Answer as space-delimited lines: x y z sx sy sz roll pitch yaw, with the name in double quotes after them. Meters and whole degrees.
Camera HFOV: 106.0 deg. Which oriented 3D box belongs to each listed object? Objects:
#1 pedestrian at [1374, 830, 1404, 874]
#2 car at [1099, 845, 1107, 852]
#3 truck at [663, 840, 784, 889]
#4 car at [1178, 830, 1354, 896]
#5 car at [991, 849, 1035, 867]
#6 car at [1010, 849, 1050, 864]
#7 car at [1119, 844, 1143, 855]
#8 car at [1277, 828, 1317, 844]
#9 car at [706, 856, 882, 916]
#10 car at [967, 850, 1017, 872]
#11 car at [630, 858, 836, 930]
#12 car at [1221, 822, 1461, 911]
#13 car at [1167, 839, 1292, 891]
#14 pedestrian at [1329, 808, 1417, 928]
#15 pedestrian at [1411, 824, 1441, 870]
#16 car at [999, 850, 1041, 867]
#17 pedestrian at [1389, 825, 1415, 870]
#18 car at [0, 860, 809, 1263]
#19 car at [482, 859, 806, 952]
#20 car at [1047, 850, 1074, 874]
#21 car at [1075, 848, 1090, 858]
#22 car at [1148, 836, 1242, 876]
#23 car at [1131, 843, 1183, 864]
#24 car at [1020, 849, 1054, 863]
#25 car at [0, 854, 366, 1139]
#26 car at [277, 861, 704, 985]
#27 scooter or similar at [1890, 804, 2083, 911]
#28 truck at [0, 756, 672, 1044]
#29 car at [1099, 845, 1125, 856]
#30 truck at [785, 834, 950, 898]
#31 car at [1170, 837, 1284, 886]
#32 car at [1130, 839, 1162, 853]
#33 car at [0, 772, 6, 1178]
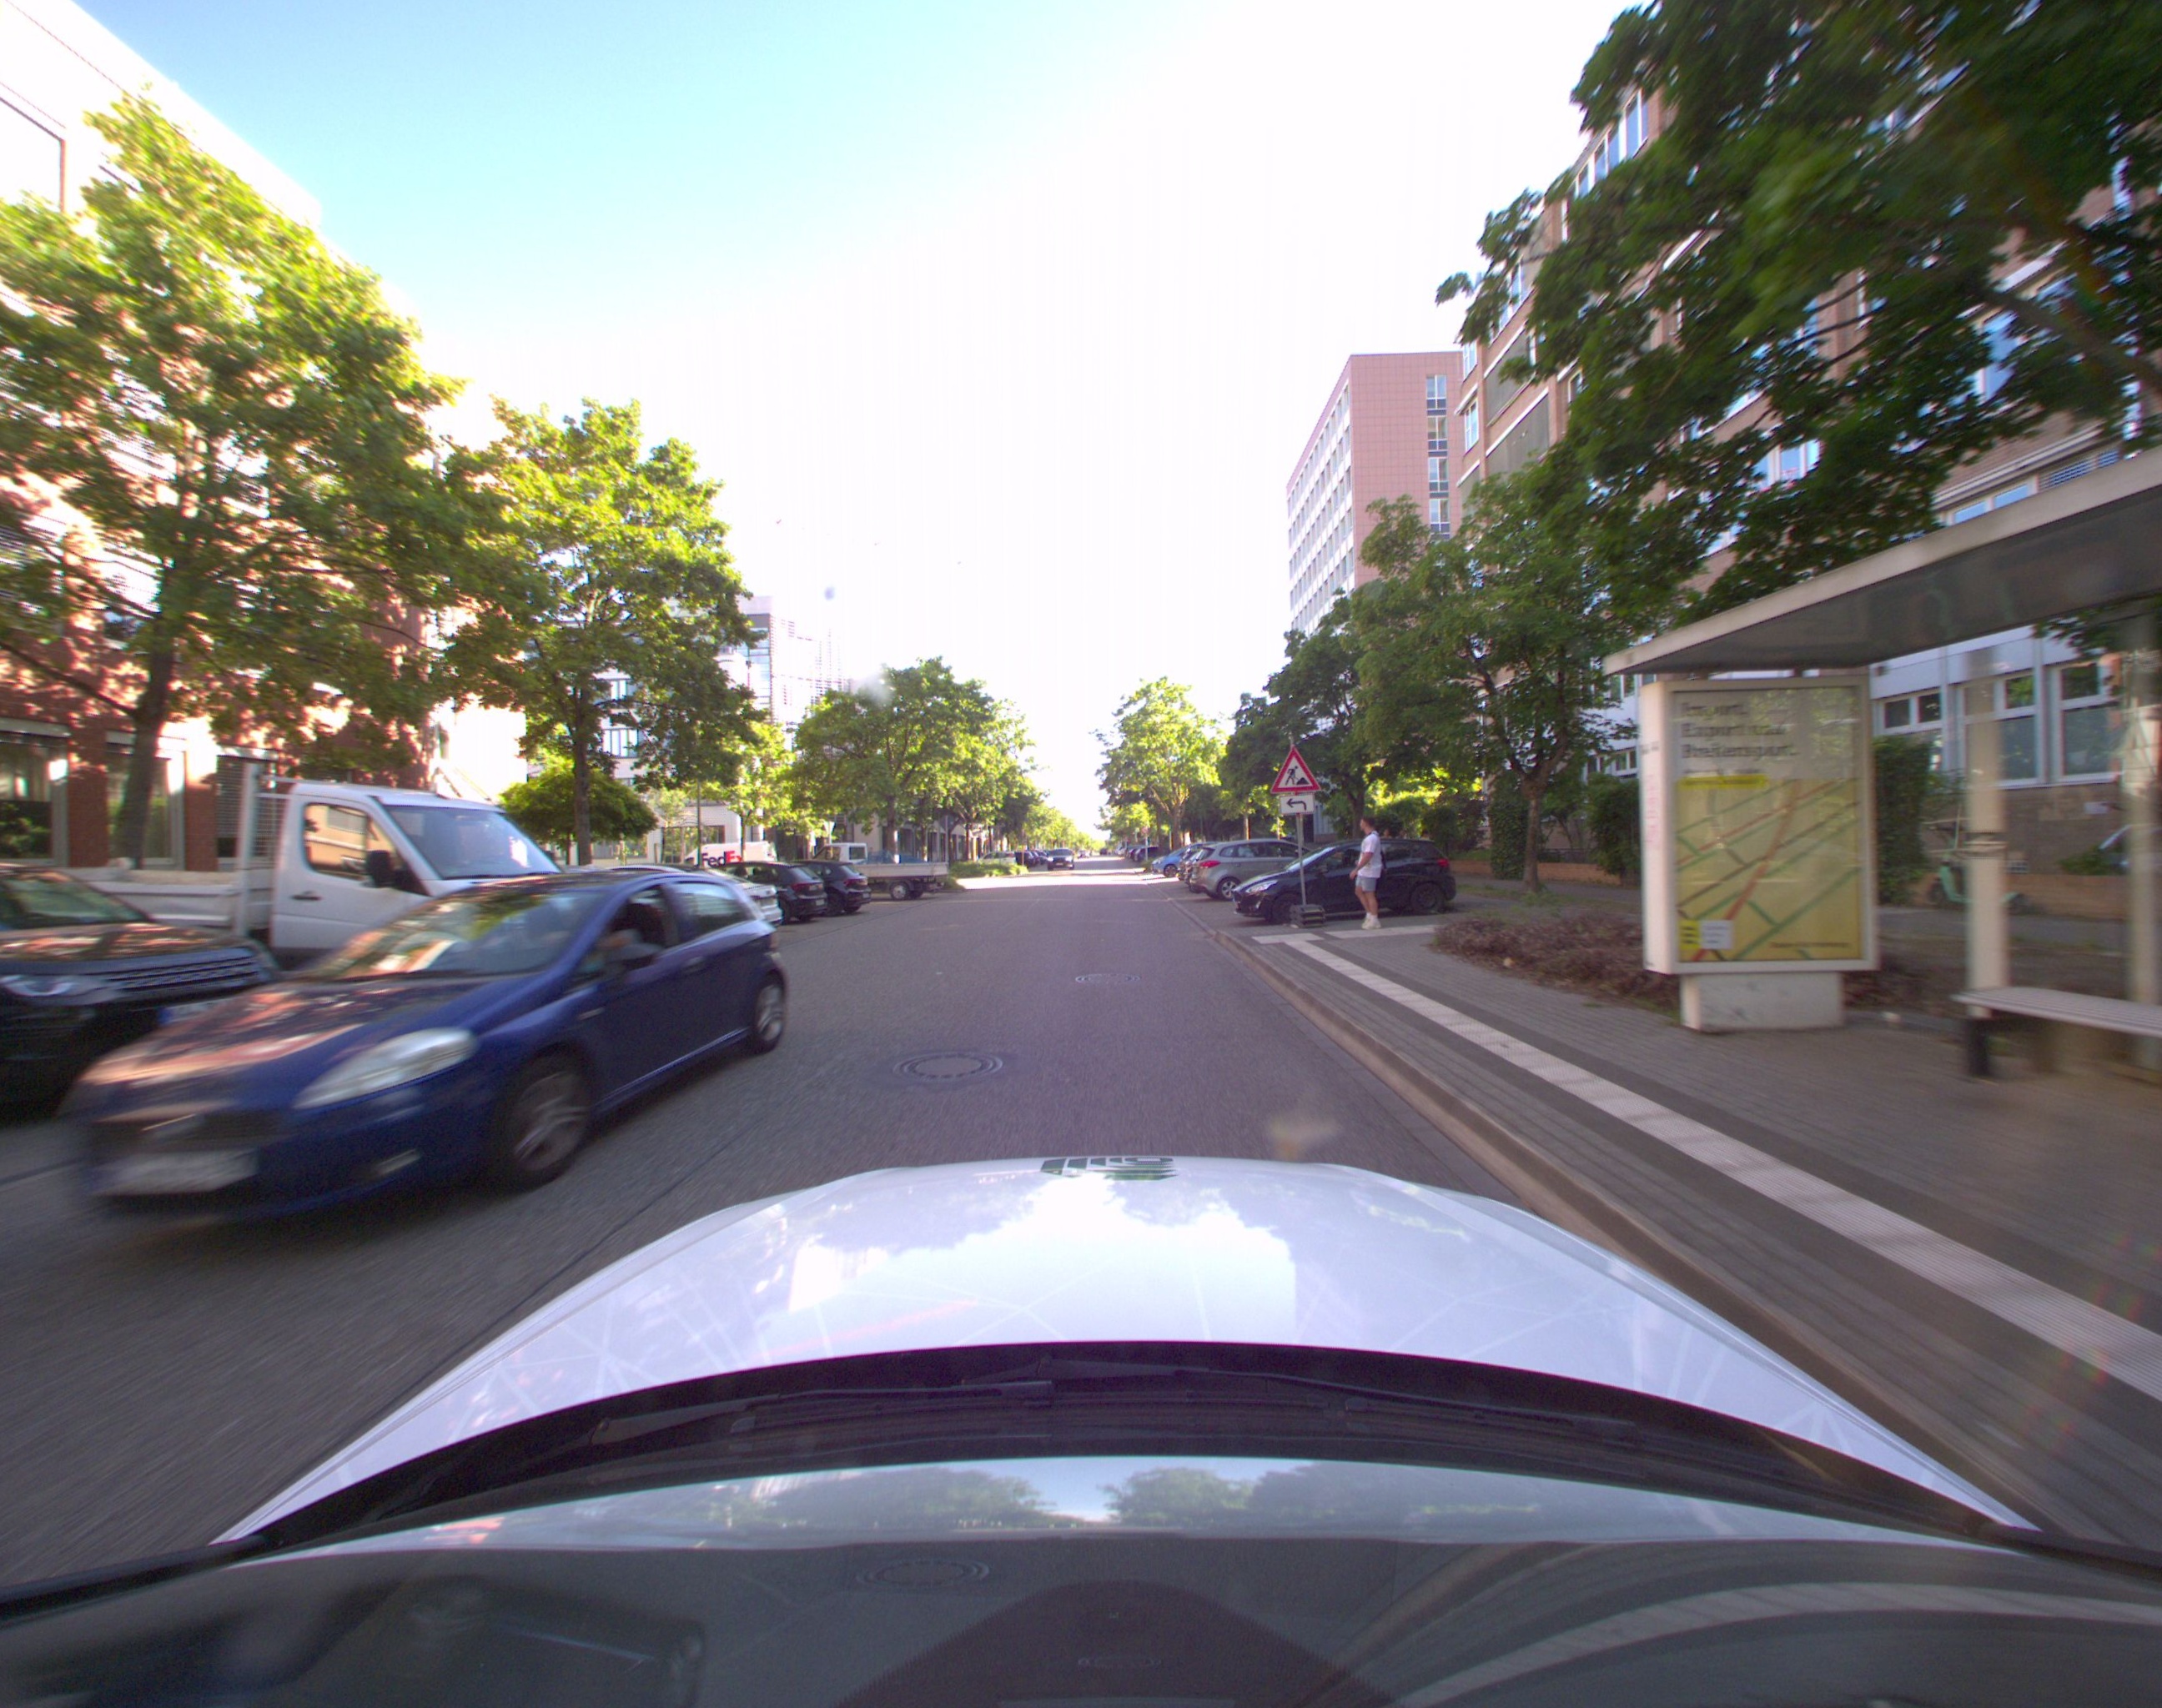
10.682 -0.073 28.279 0.698 1.458 0.715 -2 0 -1 "pedestrian"
5.692 -1.449 207.877 1.926 1.597 4.367 -2 0 1 "car"
-21.552 0.615 49.390 6.092 2.704 2.574 -2 0 -4 "truck"
5.016 0.236 22.501 4.345 1.597 1.936 -2 0 -5 "car"
-5.973 0.329 71.969 3.720 1.464 1.677 -2 0 0 "car"
-5.266 0.238 84.284 3.879 1.464 1.858 -2 0 0 "car"
8.775 -0.723 142.402 3.979 1.792 1.998 -2 0 -4 "car"
24.961 -2.098 94.168 4.062 1.783 1.998 0 0 -3 "car"
-7.565 0.826 21.666 3.968 1.435 1.792 -1 0 5 "car"
-6.777 0.530 62.282 3.570 1.549 1.636 -1 -2 -1 "car"
-8.002 0.896 18.953 3.972 1.435 1.722 -2 1 1 "car"
4.753 0.212 15.278 3.922 1.439 1.774 -2 0 -1 "car"
4.952 0.335 27.503 3.793 1.408 1.700 -4 1 -4 "car"
4.448 0.201 12.435 0.918 1.710 0.695 -5 1 -12 "pedestrian"
12.073 -0.246 28.520 0.754 1.552 0.559 -2 0 -1 "pedestrian"
-5.700 0.425 76.236 3.720 1.464 1.677 -2 0 0 "car"
11.246 -0.221 28.543 0.600 1.520 0.594 -2 0 -1 "pedestrian"
-3.261 0.801 5.082 1.638 1.420 4.001 -2 0 1 "car"
-7.362 0.836 14.074 4.526 1.442 1.890 0 1 0 "car"
-1.478 0.568 61.234 1.886 1.684 4.352 -2 0 0 "car"
0.269 -0.159 125.607 1.804 1.415 4.113 -1 1 5 "car"
5.683 0.080 40.934 4.390 1.618 1.912 -5 0 0 "car"
6.583 -0.070 70.997 4.255 1.633 1.857 -3 0 -1 "car"
-5.258 0.223 97.584 3.879 1.464 1.858 -2 0 0 "car"
-7.982 0.834 5.735 4.094 1.662 2.000 0 0 0 "car"
-7.933 0.882 11.304 4.413 1.487 2.000 -1 0 0 "car"
12.212 0.041 11.077 0.547 1.325 1.803 0 0 -3 "scooter or similar"
-7.915 0.436 8.394 6.208 2.421 2.188 -2 0 2 "truck"
5.158 -0.553 135.731 3.979 1.624 1.998 -2 0 -4 "car"
-7.223 0.382 27.887 4.964 1.959 2.140 -2 0 3 "truck"
5.338 0.260 30.146 3.833 1.483 1.825 -4 1 1 "car"
8.129 -0.980 102.706 3.878 1.656 1.859 -2 0 1 "car"
-7.702 0.617 3.102 4.468 2.051 1.999 0 0 -1 "car"
